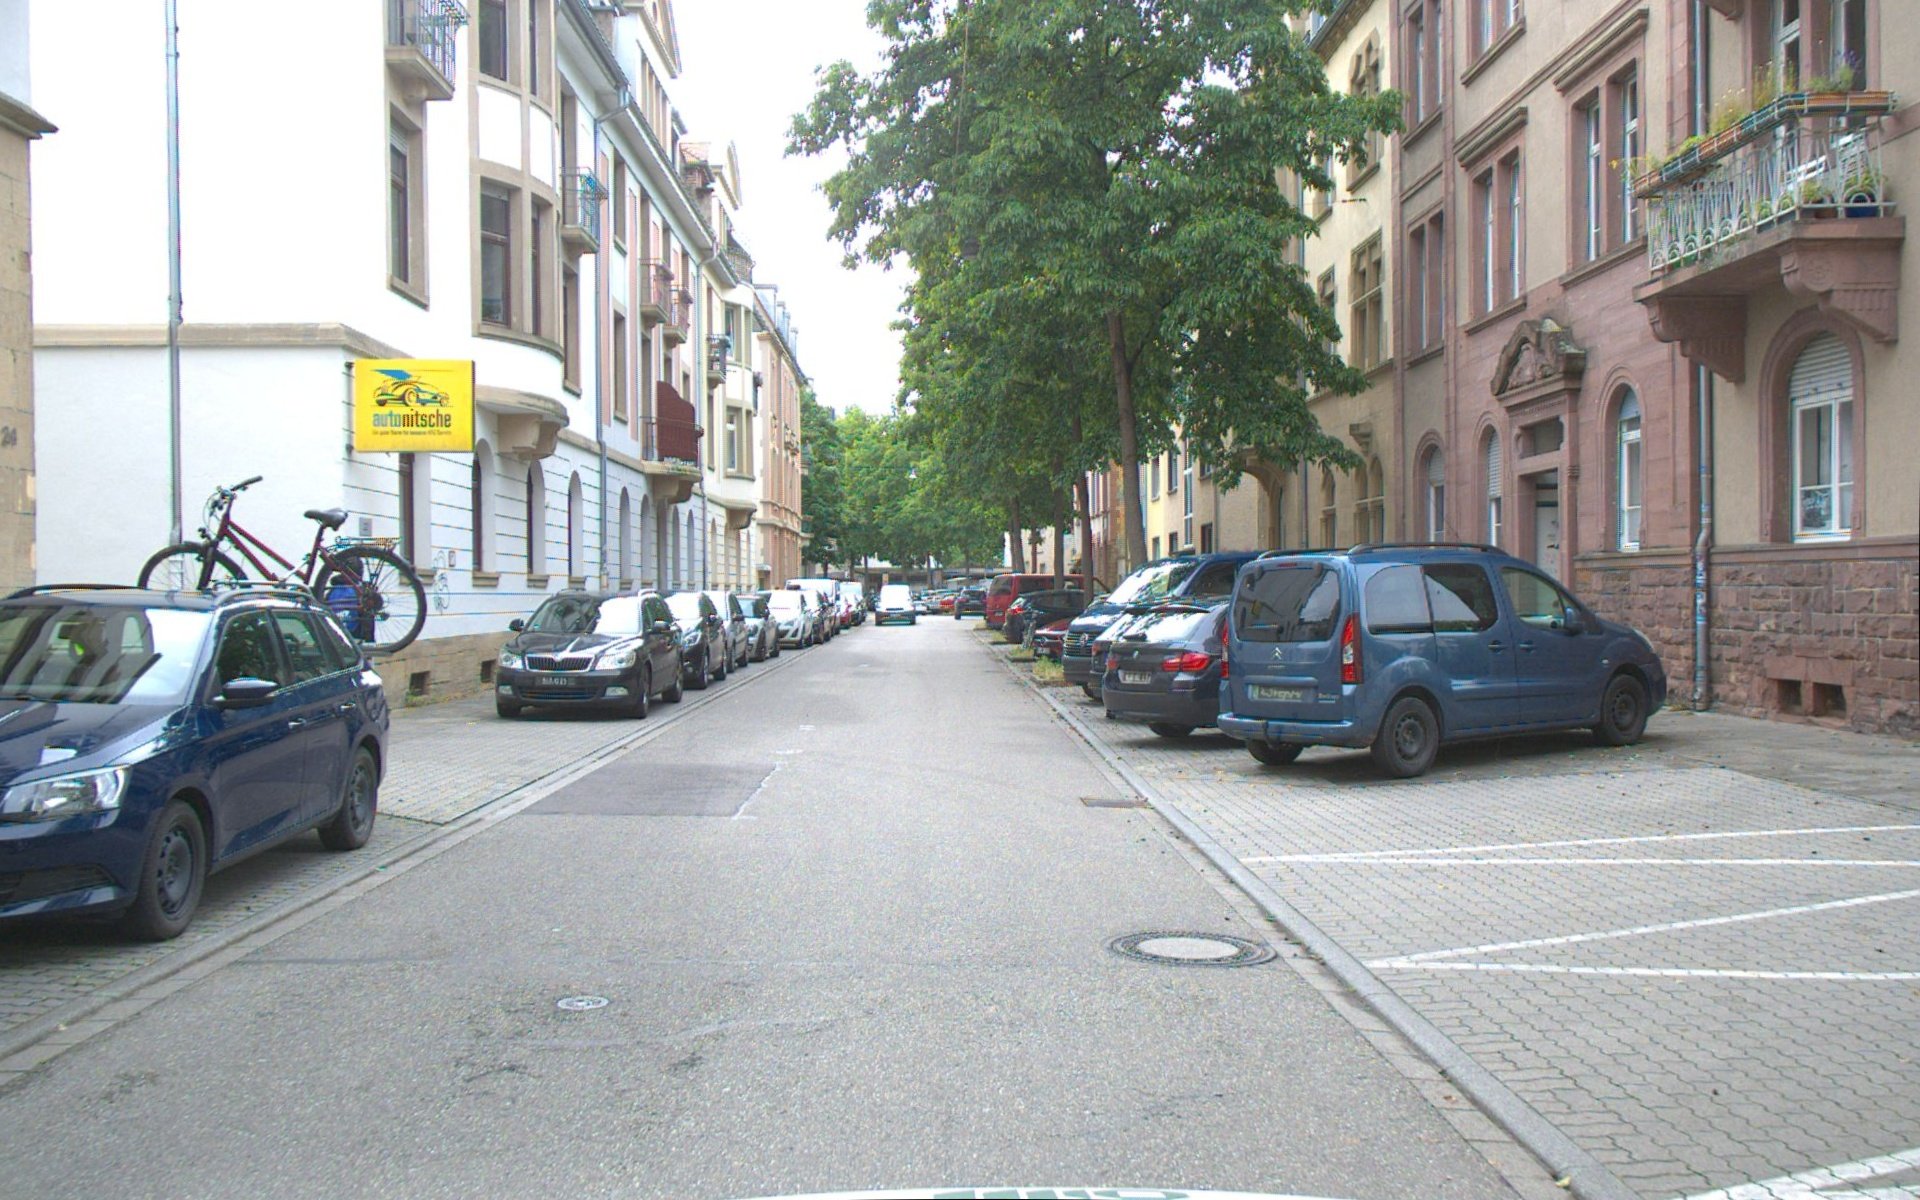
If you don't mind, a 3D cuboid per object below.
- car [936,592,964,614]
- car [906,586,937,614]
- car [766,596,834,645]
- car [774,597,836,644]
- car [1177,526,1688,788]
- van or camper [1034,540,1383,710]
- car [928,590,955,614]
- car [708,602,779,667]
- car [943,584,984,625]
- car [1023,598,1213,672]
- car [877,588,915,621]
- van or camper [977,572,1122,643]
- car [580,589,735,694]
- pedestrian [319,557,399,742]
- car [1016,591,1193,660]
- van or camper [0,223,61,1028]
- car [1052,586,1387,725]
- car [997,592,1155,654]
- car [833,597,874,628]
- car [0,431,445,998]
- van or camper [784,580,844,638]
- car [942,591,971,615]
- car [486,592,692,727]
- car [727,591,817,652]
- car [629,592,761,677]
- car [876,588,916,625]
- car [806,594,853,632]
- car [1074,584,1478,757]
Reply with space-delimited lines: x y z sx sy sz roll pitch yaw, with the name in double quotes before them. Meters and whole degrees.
"car" -0.686 0.198 114.906 1.832 1.557 3.999 0 0 -2
"car" -2.588 0.006 110.547 1.953 1.825 3.998 1 -1 -2
"car" -4.760 0.595 49.556 1.749 1.398 3.506 0 0 -1
"car" -5.069 0.659 54.621 1.749 1.470 3.887 0 0 -1
"car" 4.177 0.411 14.509 4.130 1.902 1.979 -3 0 -31
"van or camper" 3.543 0.303 23.282 4.729 2.175 2.033 0 0 -33
"car" -1.364 0.131 120.436 1.832 1.657 3.999 0 0 -2
"car" -4.638 0.713 35.663 1.185 1.332 3.259 0 0 -2
"car" 0.152 0.204 87.697 1.953 2.049 3.999 2 0 -2
"car" 3.215 0.690 33.989 3.639 1.433 1.573 -1 0 -7
"car" -3.391 0.234 88.209 1.869 1.707 4.000 0 0 0
"van or camper" 2.767 0.209 50.884 4.101 2.122 1.934 0 0 -29
"car" -4.648 0.597 25.898 1.792 1.451 3.800 2 0 -2
"pedestrian" -5.901 0.480 16.263 0.534 1.770 0.655 1 0 -3
"car" 3.199 0.552 36.956 3.689 1.490 1.727 0 0 -7
"van or camper" -4.144 0.070 3.103 1.967 2.698 5.314 3 0 -1
"car" 3.213 0.620 20.347 3.821 1.525 1.784 -1 0 -30
"car" 2.853 0.557 41.134 3.689 1.490 1.727 0 0 -7
"car" -4.970 0.563 77.402 1.749 1.398 3.887 0 0 -1
"car" -4.322 0.408 8.400 1.953 2.049 4.890 0 0 -1
"van or camper" -5.222 0.303 59.485 1.843 2.002 4.406 0 0 -1
"car" -0.238 0.213 110.492 1.832 1.557 3.839 0 0 -2
"car" -4.454 0.660 20.421 1.753 1.506 4.021 0 0 -2
"car" -4.858 0.519 43.137 1.953 1.501 3.999 0 0 -1
"car" -4.910 0.599 31.124 1.908 1.427 3.999 2 0 -2
"car" -2.972 0.279 77.051 1.784 1.673 3.752 0 0 -2
"car" -5.665 0.562 72.155 1.750 1.480 3.887 -4 0 -1
"car" 3.341 0.648 17.316 3.972 1.587 1.864 -1 0 -32
